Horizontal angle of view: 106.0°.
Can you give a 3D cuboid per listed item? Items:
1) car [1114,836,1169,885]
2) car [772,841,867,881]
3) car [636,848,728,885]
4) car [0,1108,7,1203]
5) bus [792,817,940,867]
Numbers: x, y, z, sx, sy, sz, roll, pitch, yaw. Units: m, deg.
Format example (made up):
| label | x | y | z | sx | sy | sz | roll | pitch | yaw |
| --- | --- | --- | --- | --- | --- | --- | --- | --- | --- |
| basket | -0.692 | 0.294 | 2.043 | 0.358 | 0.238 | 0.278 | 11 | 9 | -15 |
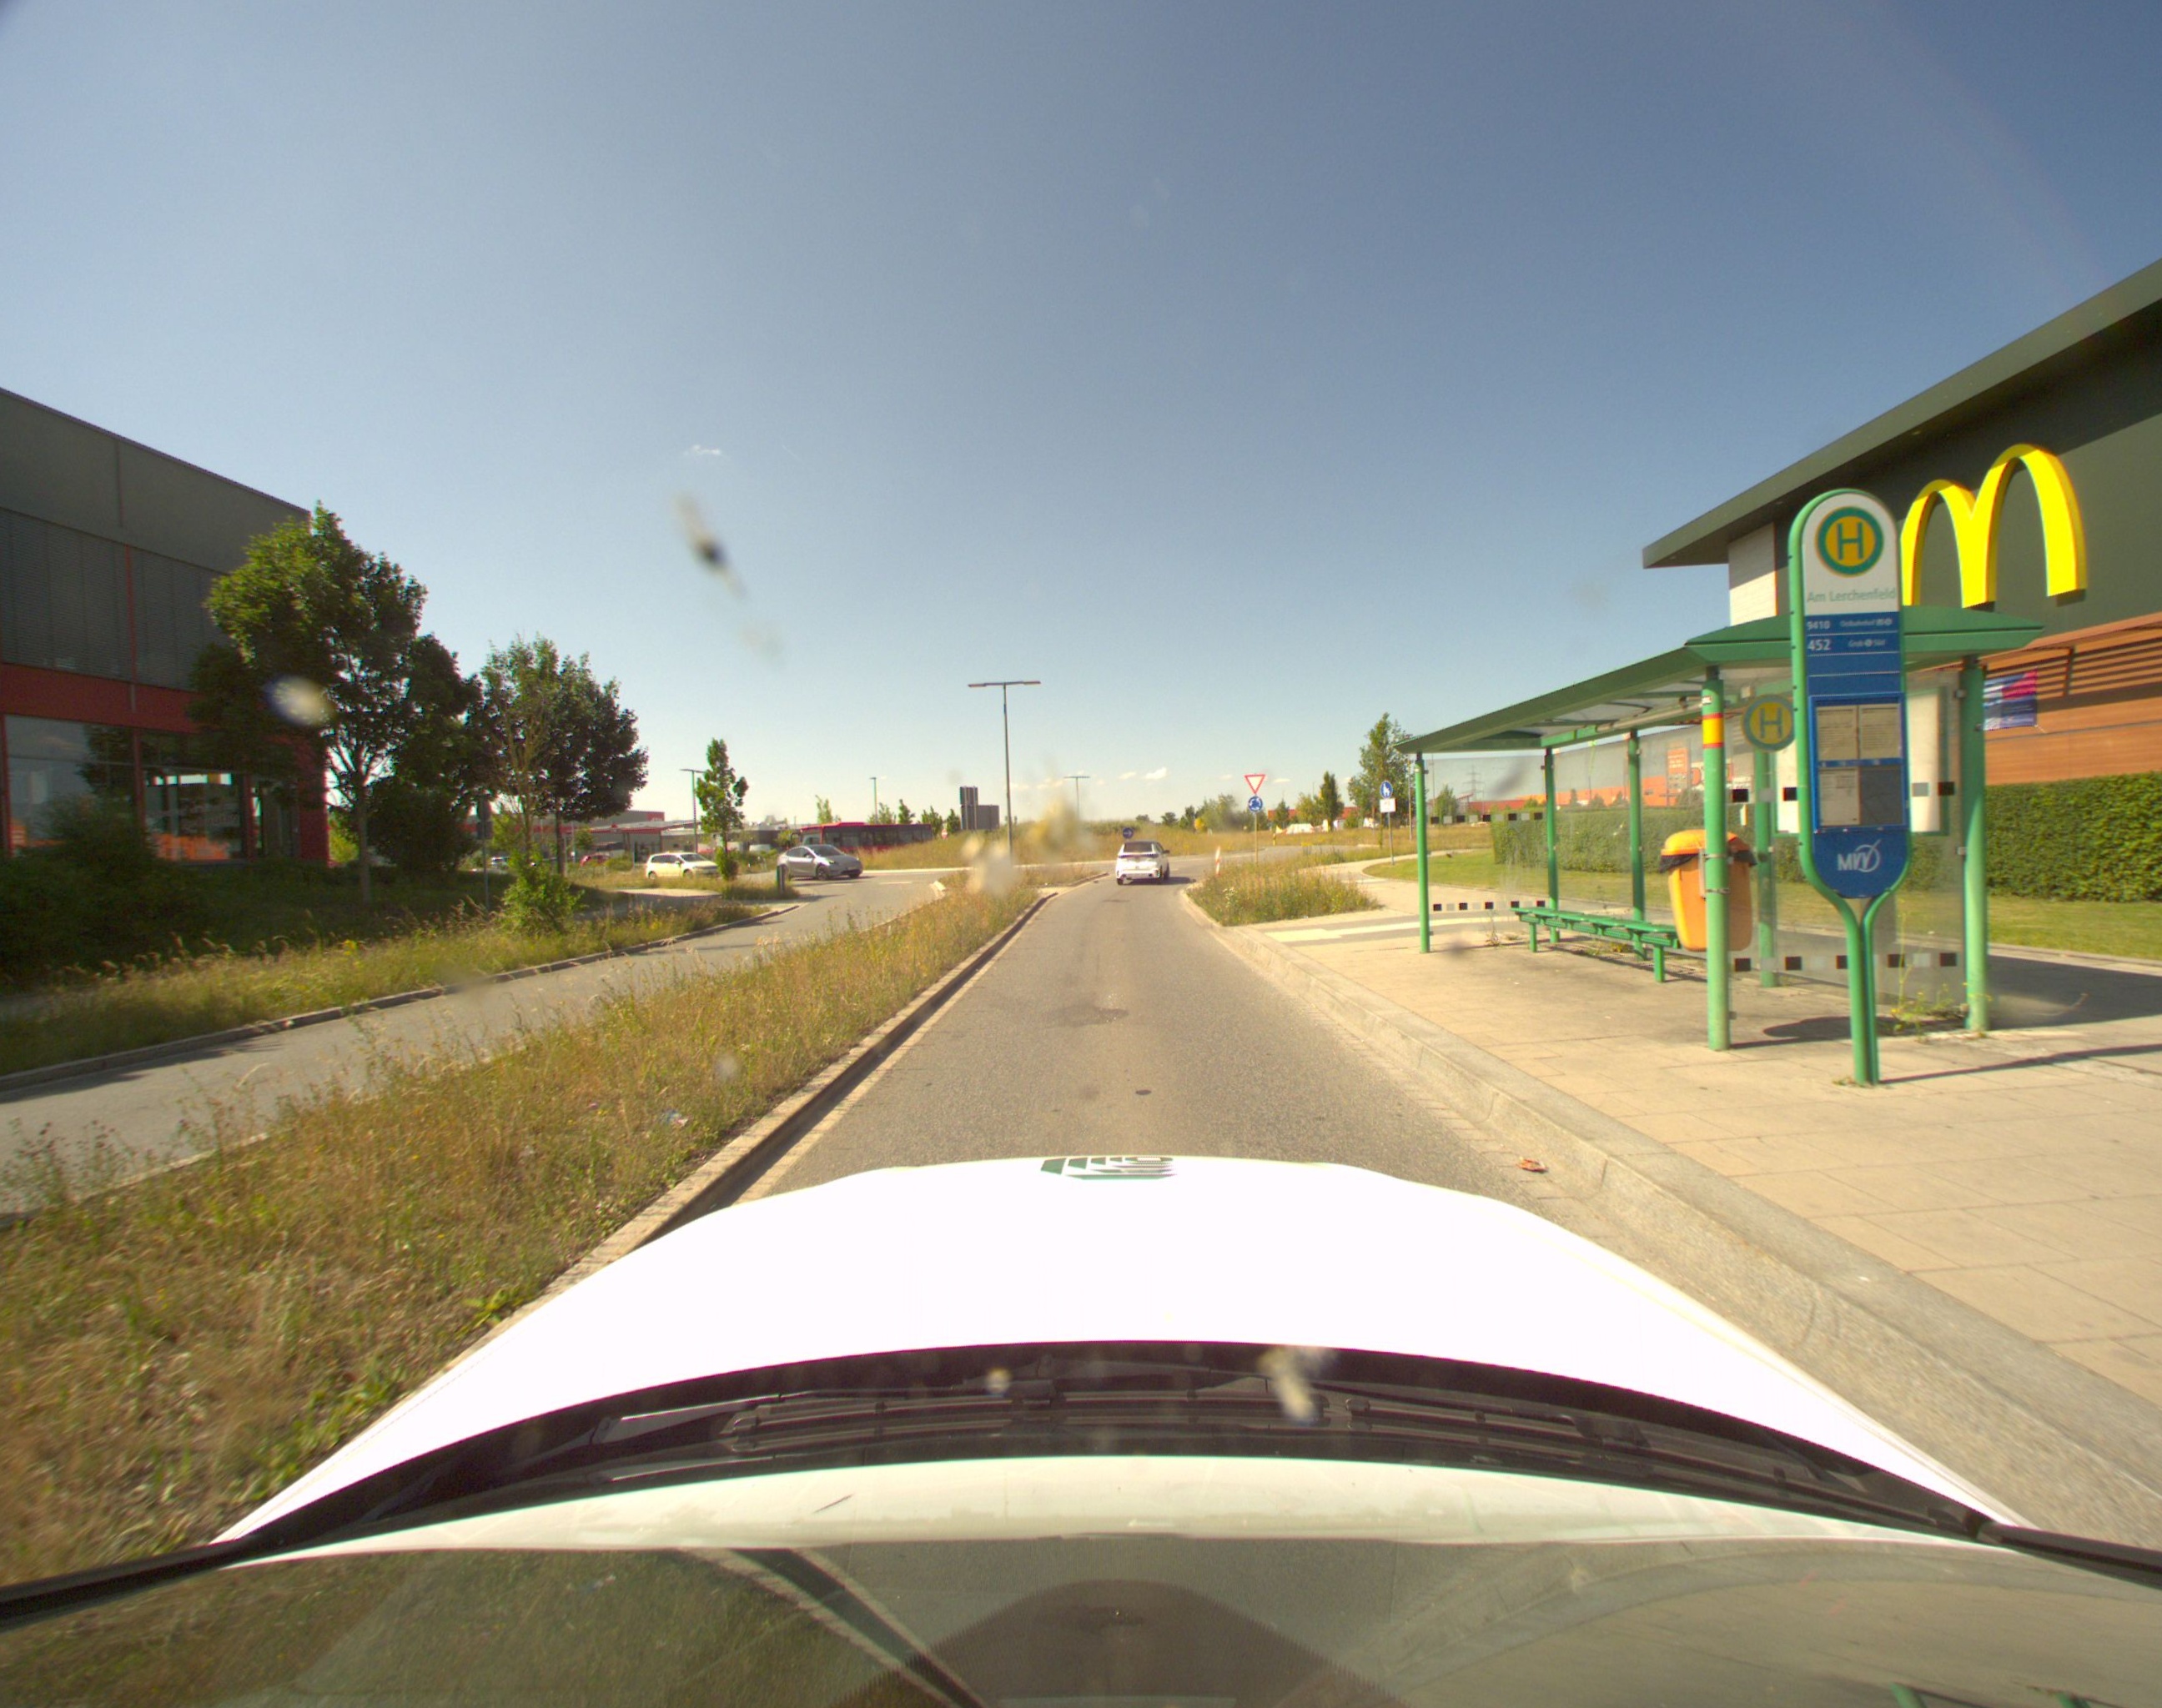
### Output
| label | x | y | z | sx | sy | sz | roll | pitch | yaw |
| --- | --- | --- | --- | --- | --- | --- | --- | --- | --- |
| car | 2.189 | 0.178 | 28.677 | 1.607 | 1.434 | 3.802 | -2 | 2 | 8 |
| car | -12.123 | 0.301 | 37.657 | 4.565 | 1.625 | 1.976 | 0 | 3 | 39 |
| car | -21.828 | 0.682 | 44.577 | 4.534 | 1.665 | 1.857 | -3 | 2 | 22 |
| car | -6.080 | 0.959 | 1.745 | 1.752 | 1.543 | 4.242 | -4 | 0 | 2 |
| bus | -15.665 | -1.050 | 60.881 | 2.760 | 3.078 | 12.281 | -2 | 2 | 29 |
